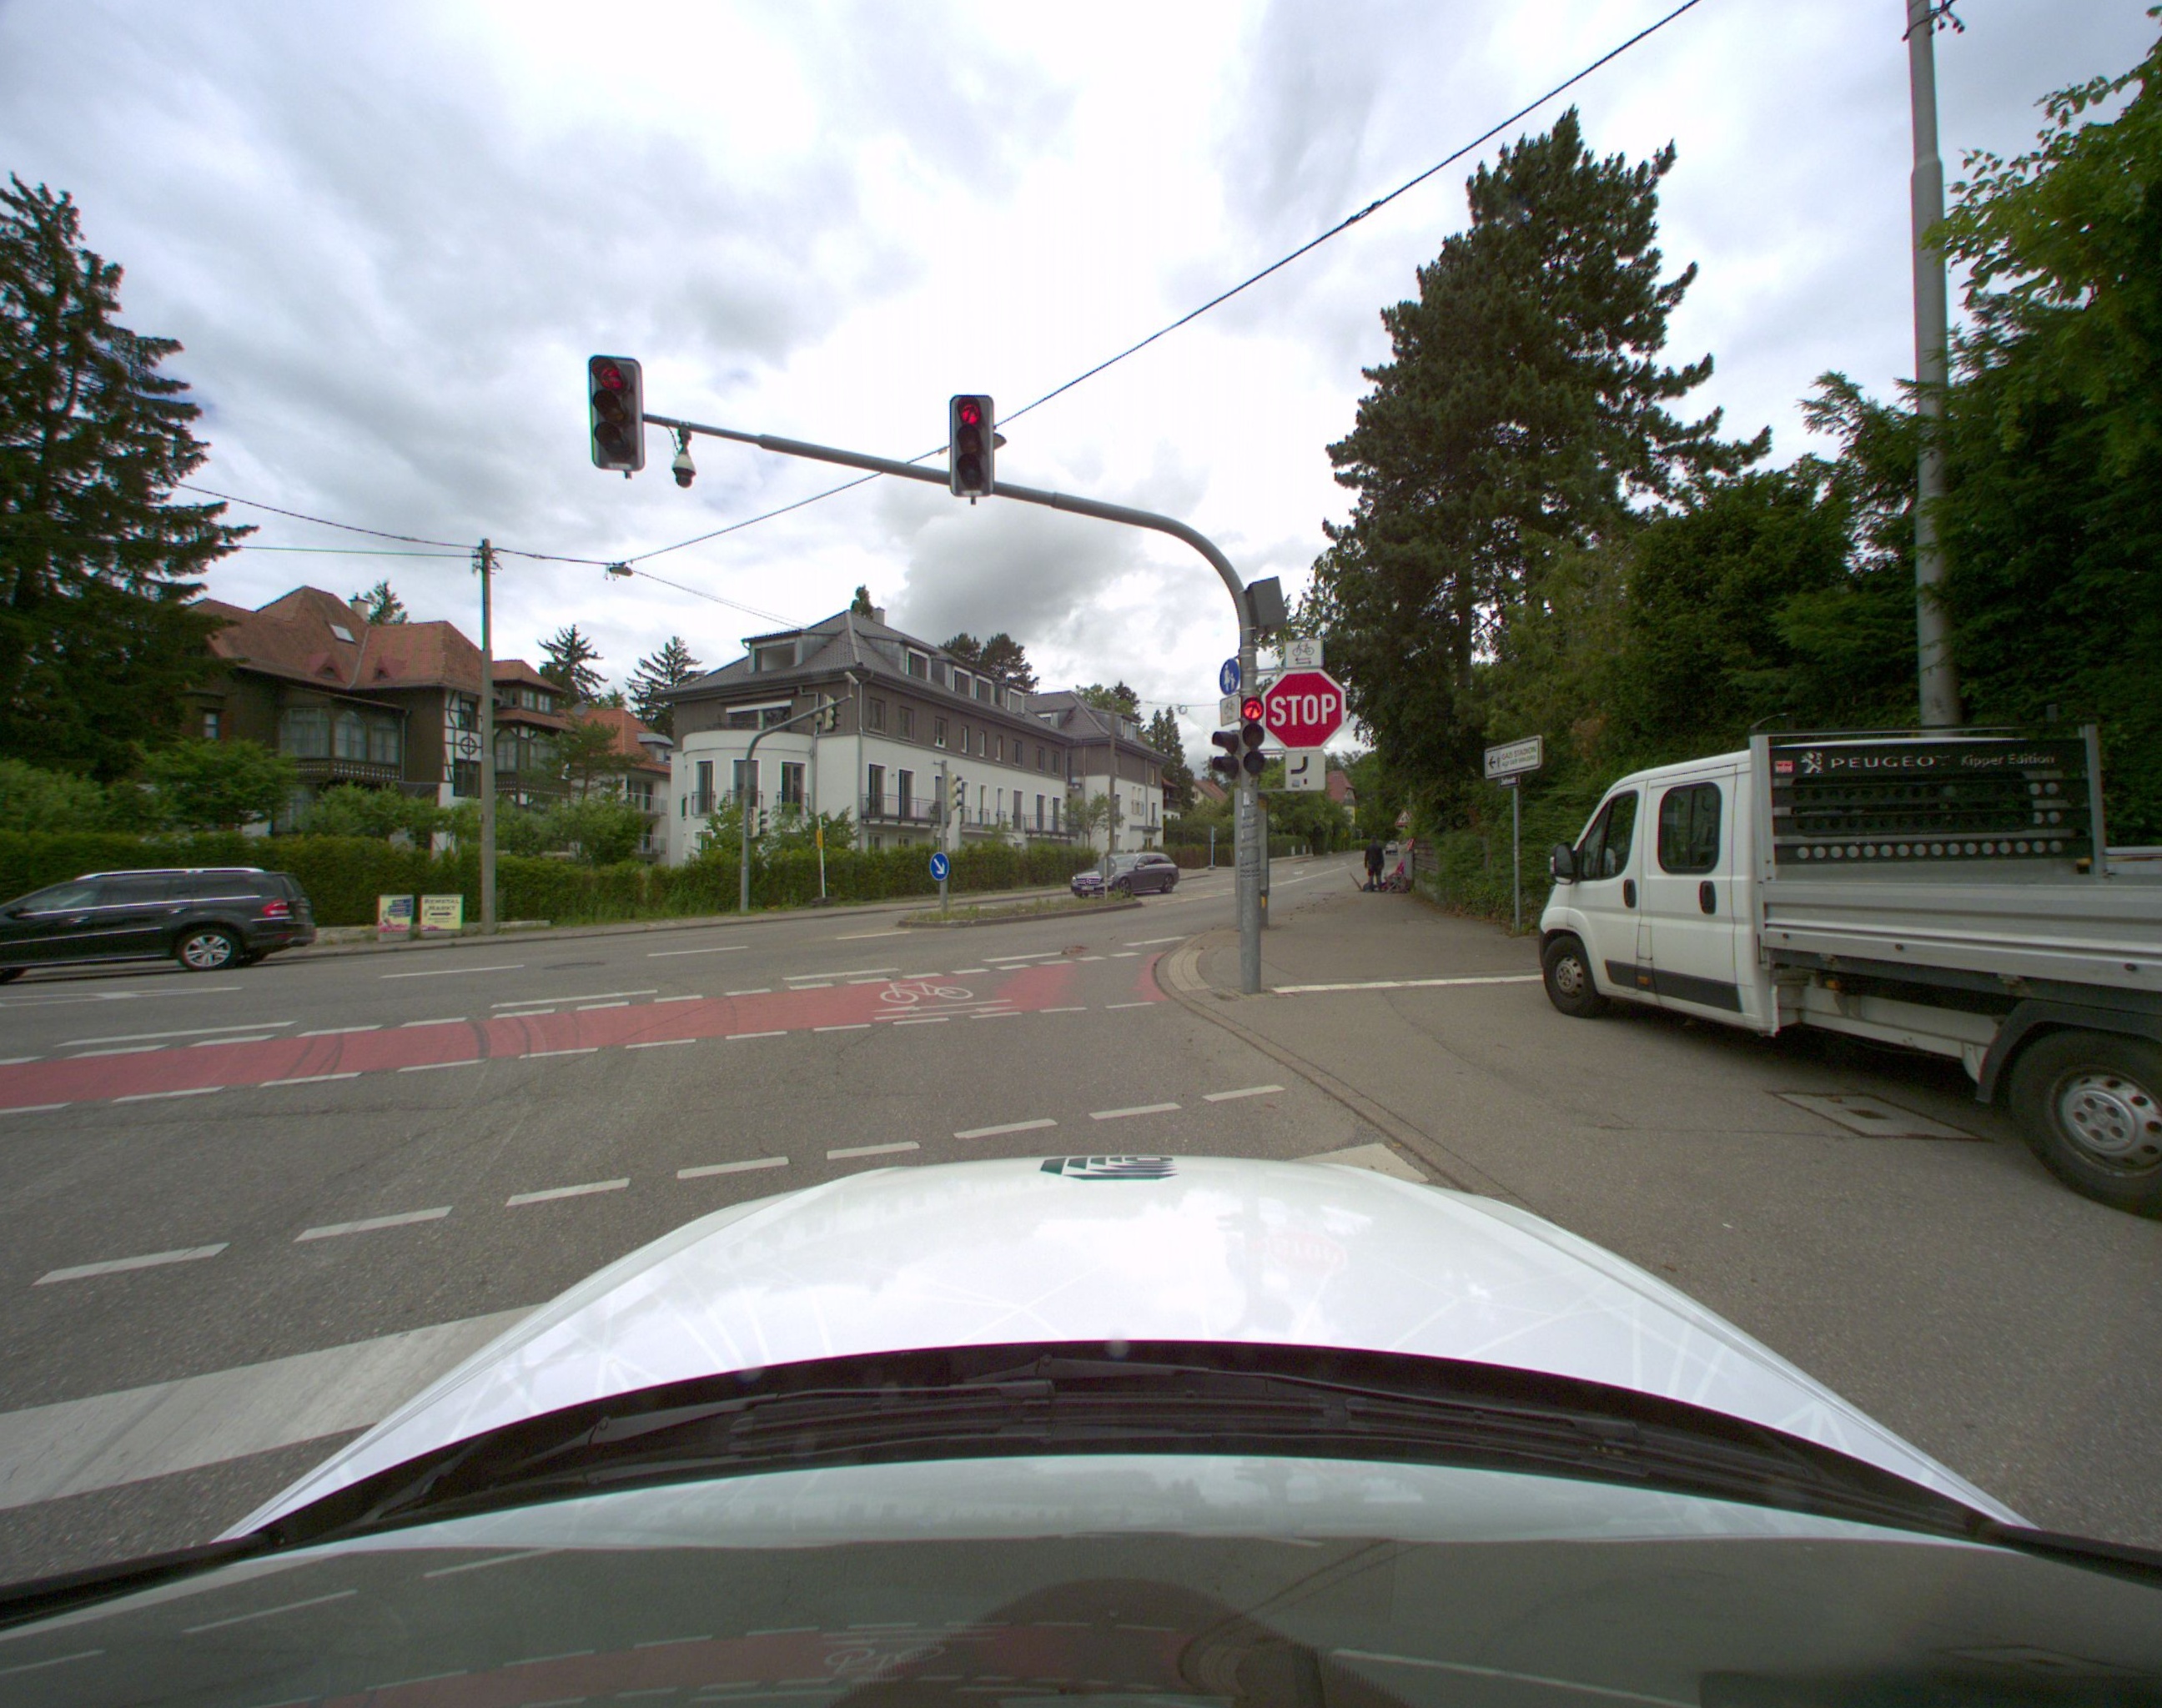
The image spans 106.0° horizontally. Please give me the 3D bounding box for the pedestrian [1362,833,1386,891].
[{"bbox_3d":[9.812,0.258,27.310,0.594,1.907,0.559,0,-1,2],"label":"pedestrian"}]

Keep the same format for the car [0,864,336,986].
[{"bbox_3d":[-17.075,1.204,14.619,5.161,1.881,1.899,-1,-1,-33],"label":"car"}]

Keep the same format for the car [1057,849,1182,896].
[{"bbox_3d":[1.421,0.579,27.885,1.920,1.403,4.773,-1,0,36],"label":"car"}]

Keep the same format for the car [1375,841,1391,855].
[{"bbox_3d":[39.675,-0.794,106.919,1.791,1.753,4.511,-2,0,22],"label":"car"}]

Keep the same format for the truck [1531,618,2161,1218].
[{"bbox_3d":[5.266,0.238,4.953,2.198,2.243,5.729,0,0,4],"label":"truck"}]
